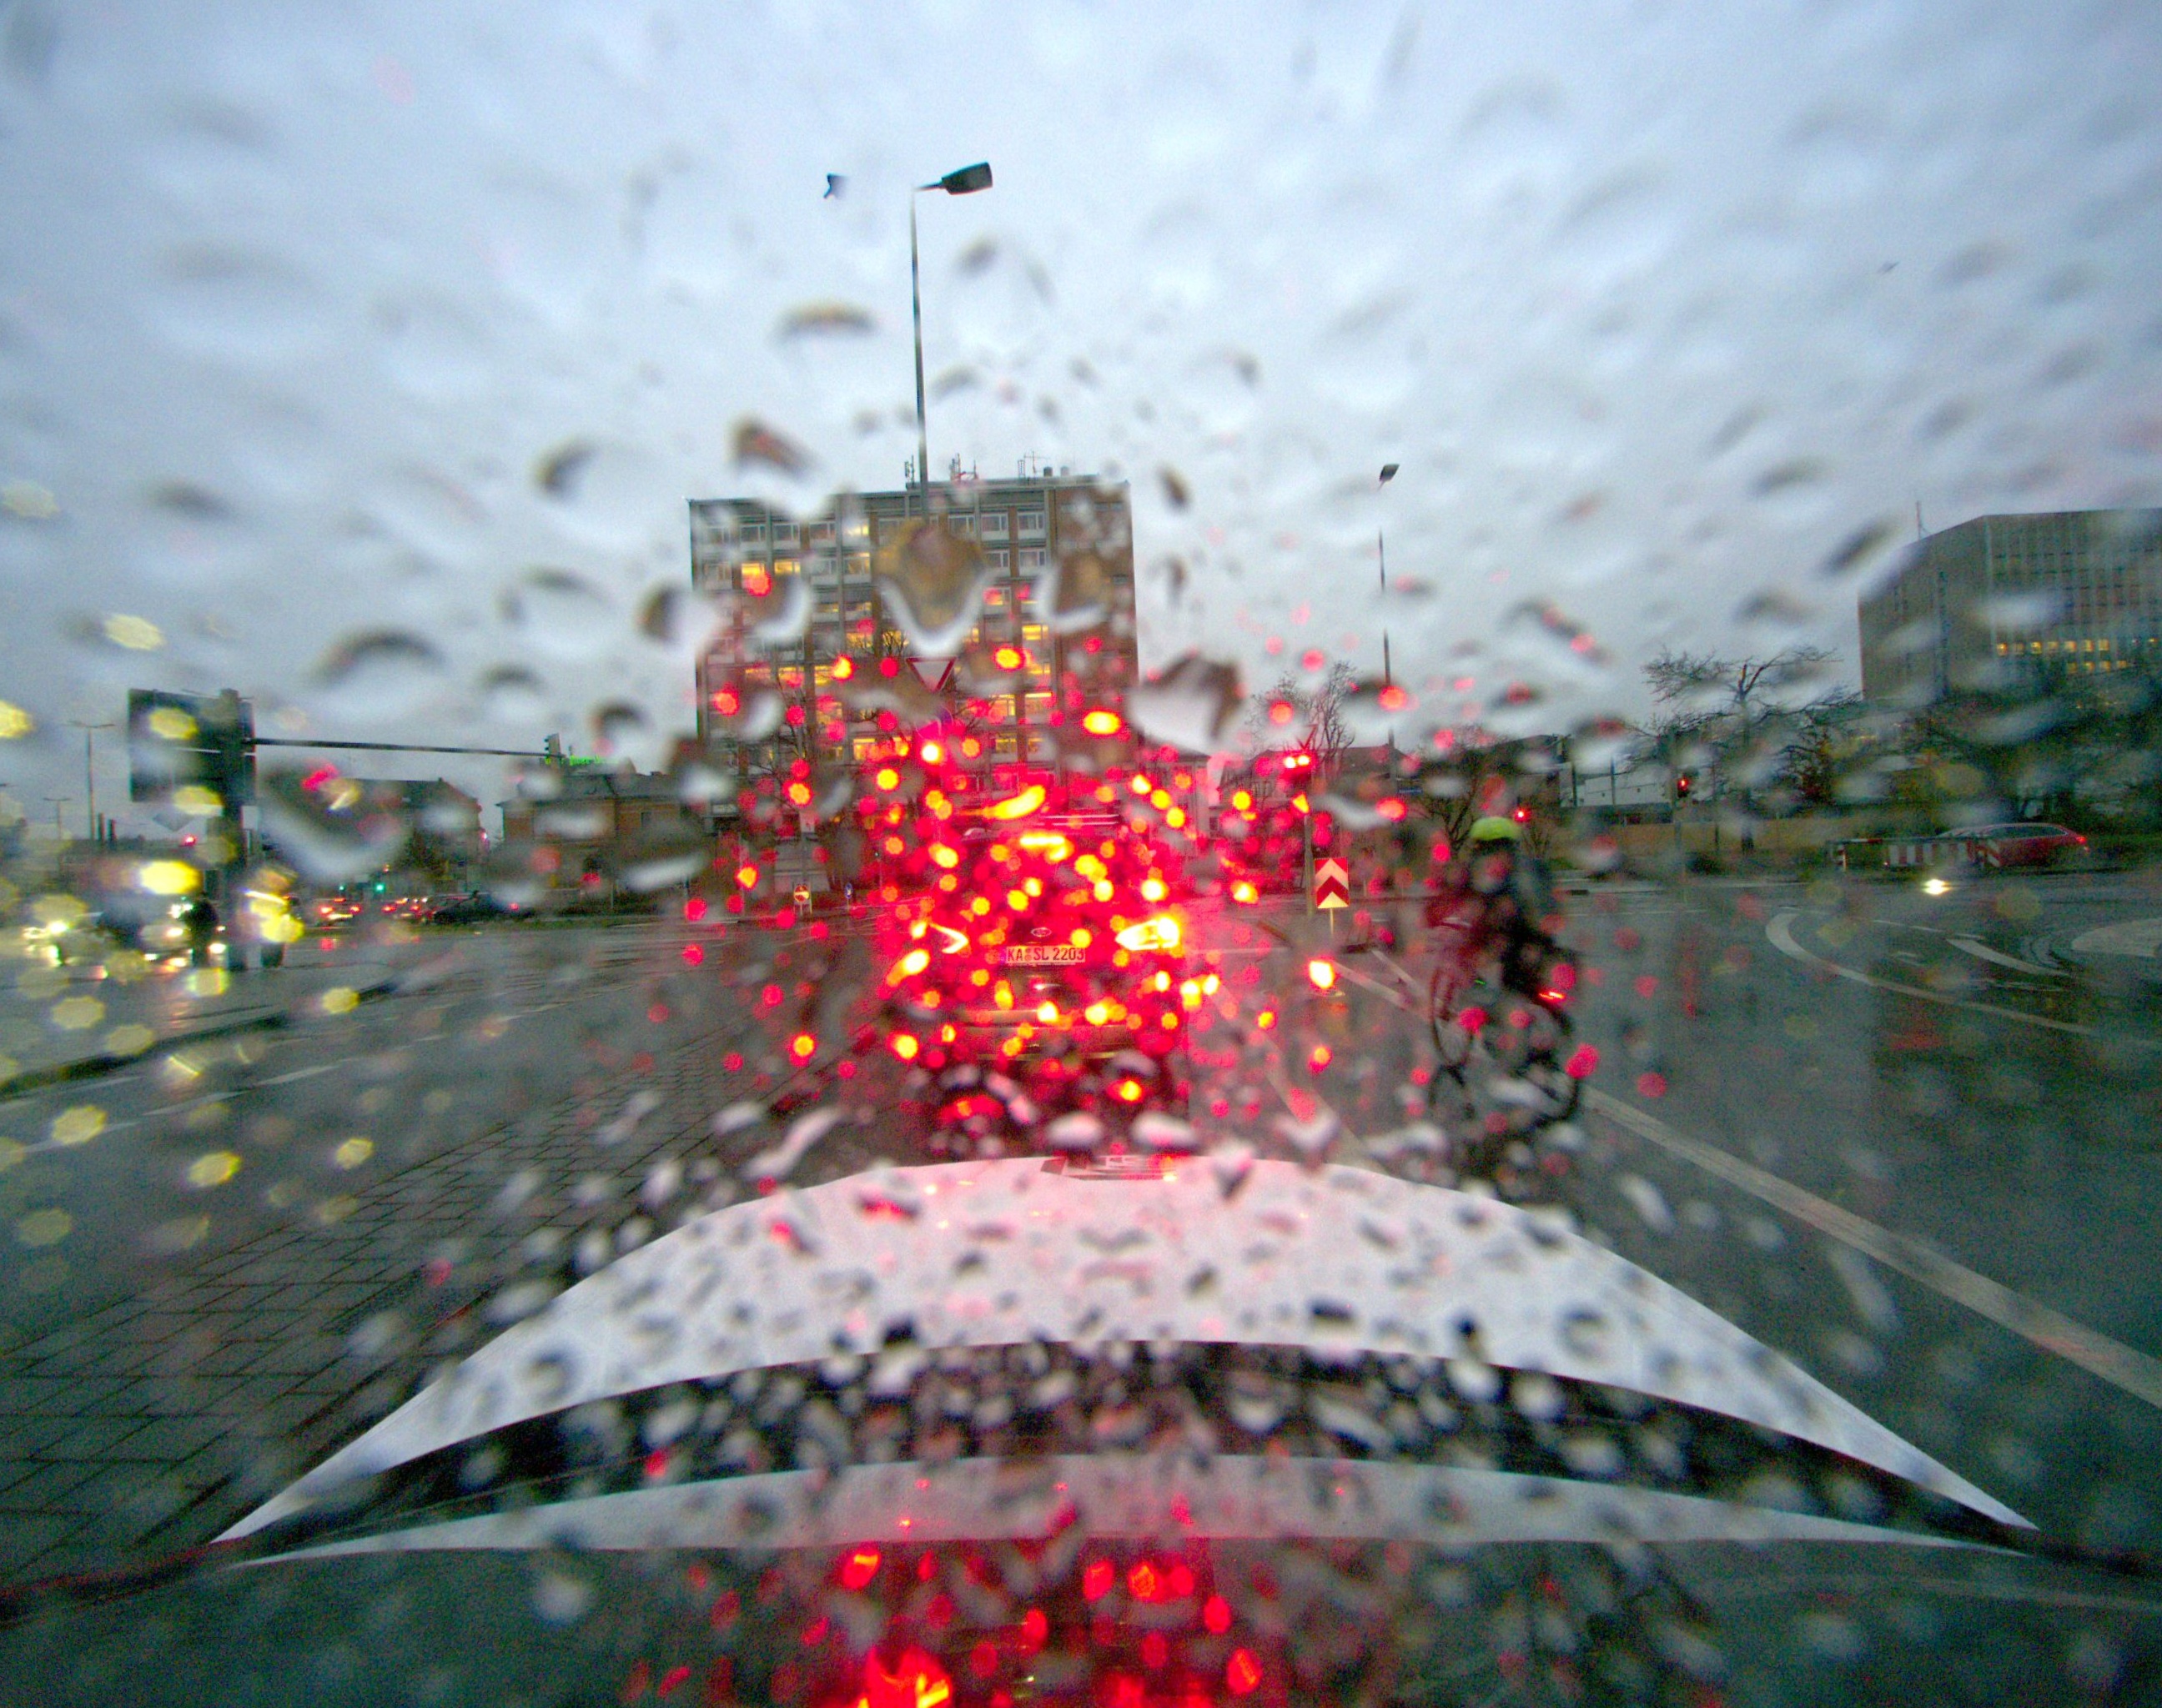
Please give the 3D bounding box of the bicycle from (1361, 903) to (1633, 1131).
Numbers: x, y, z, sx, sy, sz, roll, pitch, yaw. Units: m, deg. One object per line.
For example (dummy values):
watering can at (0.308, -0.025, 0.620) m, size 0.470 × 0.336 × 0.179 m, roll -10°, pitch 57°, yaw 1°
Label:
bicycle at (2.489, 0.901, 5.197) m, size 0.780 × 1.075 × 1.958 m, roll 0°, pitch -1°, yaw 2°

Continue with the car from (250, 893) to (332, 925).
car at (-51.155, 3.528, 52.782) m, size 1.649 × 1.826 × 3.609 m, roll -1°, pitch -1°, yaw 39°

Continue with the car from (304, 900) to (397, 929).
car at (-43.817, 3.619, 48.928) m, size 1.582 × 1.482 × 3.840 m, roll -1°, pitch -1°, yaw 31°

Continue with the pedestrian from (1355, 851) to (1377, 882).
pedestrian at (15.040, 0.658, 43.040) m, size 0.887 × 1.533 × 0.888 m, roll -3°, pitch 0°, yaw 10°

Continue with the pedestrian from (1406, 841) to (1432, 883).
pedestrian at (17.370, 0.402, 41.878) m, size 0.879 × 2.113 × 0.897 m, roll -3°, pitch 0°, yaw 4°

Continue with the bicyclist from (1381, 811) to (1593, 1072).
bicyclist at (2.482, 0.493, 5.126) m, size 0.780 × 1.453 × 1.134 m, roll 0°, pitch -1°, yaw 2°

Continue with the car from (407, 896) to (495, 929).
car at (-33.325, 3.052, 43.085) m, size 3.954 × 1.568 × 1.836 m, roll -1°, pitch -1°, yaw 20°

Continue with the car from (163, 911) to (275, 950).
car at (-37.730, 3.340, 35.635) m, size 4.537 × 1.477 × 1.821 m, roll -3°, pitch -1°, yaw 22°

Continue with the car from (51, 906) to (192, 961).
car at (-29.495, 2.412, 25.031) m, size 3.668 × 1.448 × 1.755 m, roll -2°, pitch 1°, yaw 23°

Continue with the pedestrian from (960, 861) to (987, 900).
pedestrian at (-5.640, 1.398, 42.647) m, size 0.965 × 1.978 × 0.919 m, roll -3°, pitch 0°, yaw -41°

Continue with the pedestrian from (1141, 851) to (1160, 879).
pedestrian at (4.103, 0.651, 48.145) m, size 0.764 × 1.628 × 0.714 m, roll -3°, pitch 0°, yaw -29°

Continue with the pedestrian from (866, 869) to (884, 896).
pedestrian at (-12.513, 1.732, 49.453) m, size 0.754 × 1.628 × 0.560 m, roll -3°, pitch 0°, yaw 16°

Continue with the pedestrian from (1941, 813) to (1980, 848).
pedestrian at (41.915, -1.116, 38.821) m, size 0.956 × 1.603 × 0.796 m, roll -3°, pitch 0°, yaw 9°

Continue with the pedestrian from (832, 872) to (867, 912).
pedestrian at (-11.498, 1.865, 40.513) m, size 0.992 × 1.842 × 1.146 m, roll -3°, pitch 2°, yaw 28°

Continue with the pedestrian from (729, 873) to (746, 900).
pedestrian at (-22.343, 2.132, 52.982) m, size 0.634 × 1.688 × 0.640 m, roll -3°, pitch 0°, yaw 18°

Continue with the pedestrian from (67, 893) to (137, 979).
pedestrian at (-21.484, 1.779, 17.881) m, size 0.741 × 1.770 × 0.546 m, roll -3°, pitch 0°, yaw -12°

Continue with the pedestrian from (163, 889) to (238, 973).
pedestrian at (-19.540, 1.704, 18.082) m, size 0.653 × 1.755 × 0.856 m, roll -3°, pitch 0°, yaw 18°

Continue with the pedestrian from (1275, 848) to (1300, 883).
pedestrian at (10.695, 0.607, 42.153) m, size 1.127 × 1.720 × 0.984 m, roll -3°, pitch 0°, yaw 12°

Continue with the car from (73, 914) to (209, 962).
car at (-36.135, 3.232, 31.306) m, size 4.643 × 1.552 × 1.949 m, roll -3°, pitch -1°, yaw 21°

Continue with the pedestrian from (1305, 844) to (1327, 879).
pedestrian at (12.557, 0.406, 43.514) m, size 0.990 × 1.799 × 0.922 m, roll -3°, pitch 0°, yaw 11°

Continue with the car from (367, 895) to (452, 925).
car at (-38.399, 3.172, 46.629) m, size 1.496 × 1.461 × 3.453 m, roll -1°, pitch -1°, yaw 31°

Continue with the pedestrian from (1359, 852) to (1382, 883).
pedestrian at (14.929, 0.704, 41.995) m, size 0.918 × 1.533 × 1.046 m, roll -3°, pitch 0°, yaw 11°

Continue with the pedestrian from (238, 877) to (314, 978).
pedestrian at (-17.276, 1.548, 17.506) m, size 0.996 × 2.021 × 0.792 m, roll -3°, pitch 0°, yaw -39°

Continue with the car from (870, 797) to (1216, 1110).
car at (-0.161, 0.588, 6.695) m, size 1.986 × 1.789 × 4.001 m, roll 0°, pitch -1°, yaw 2°

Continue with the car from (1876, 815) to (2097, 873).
car at (27.530, -0.267, 24.899) m, size 4.390 × 1.477 × 1.814 m, roll -3°, pitch -1°, yaw 6°

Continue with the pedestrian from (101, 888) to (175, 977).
pedestrian at (-20.786, 1.709, 17.973) m, size 0.733 × 1.838 × 0.674 m, roll -3°, pitch 0°, yaw -11°

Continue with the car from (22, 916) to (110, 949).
car at (-51.679, 4.000, 41.447) m, size 3.919 × 1.477 × 1.821 m, roll -3°, pitch -1°, yaw 24°

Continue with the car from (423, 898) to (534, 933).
car at (-29.664, 3.002, 40.195) m, size 3.984 × 1.568 × 1.822 m, roll 0°, pitch -1°, yaw -8°
